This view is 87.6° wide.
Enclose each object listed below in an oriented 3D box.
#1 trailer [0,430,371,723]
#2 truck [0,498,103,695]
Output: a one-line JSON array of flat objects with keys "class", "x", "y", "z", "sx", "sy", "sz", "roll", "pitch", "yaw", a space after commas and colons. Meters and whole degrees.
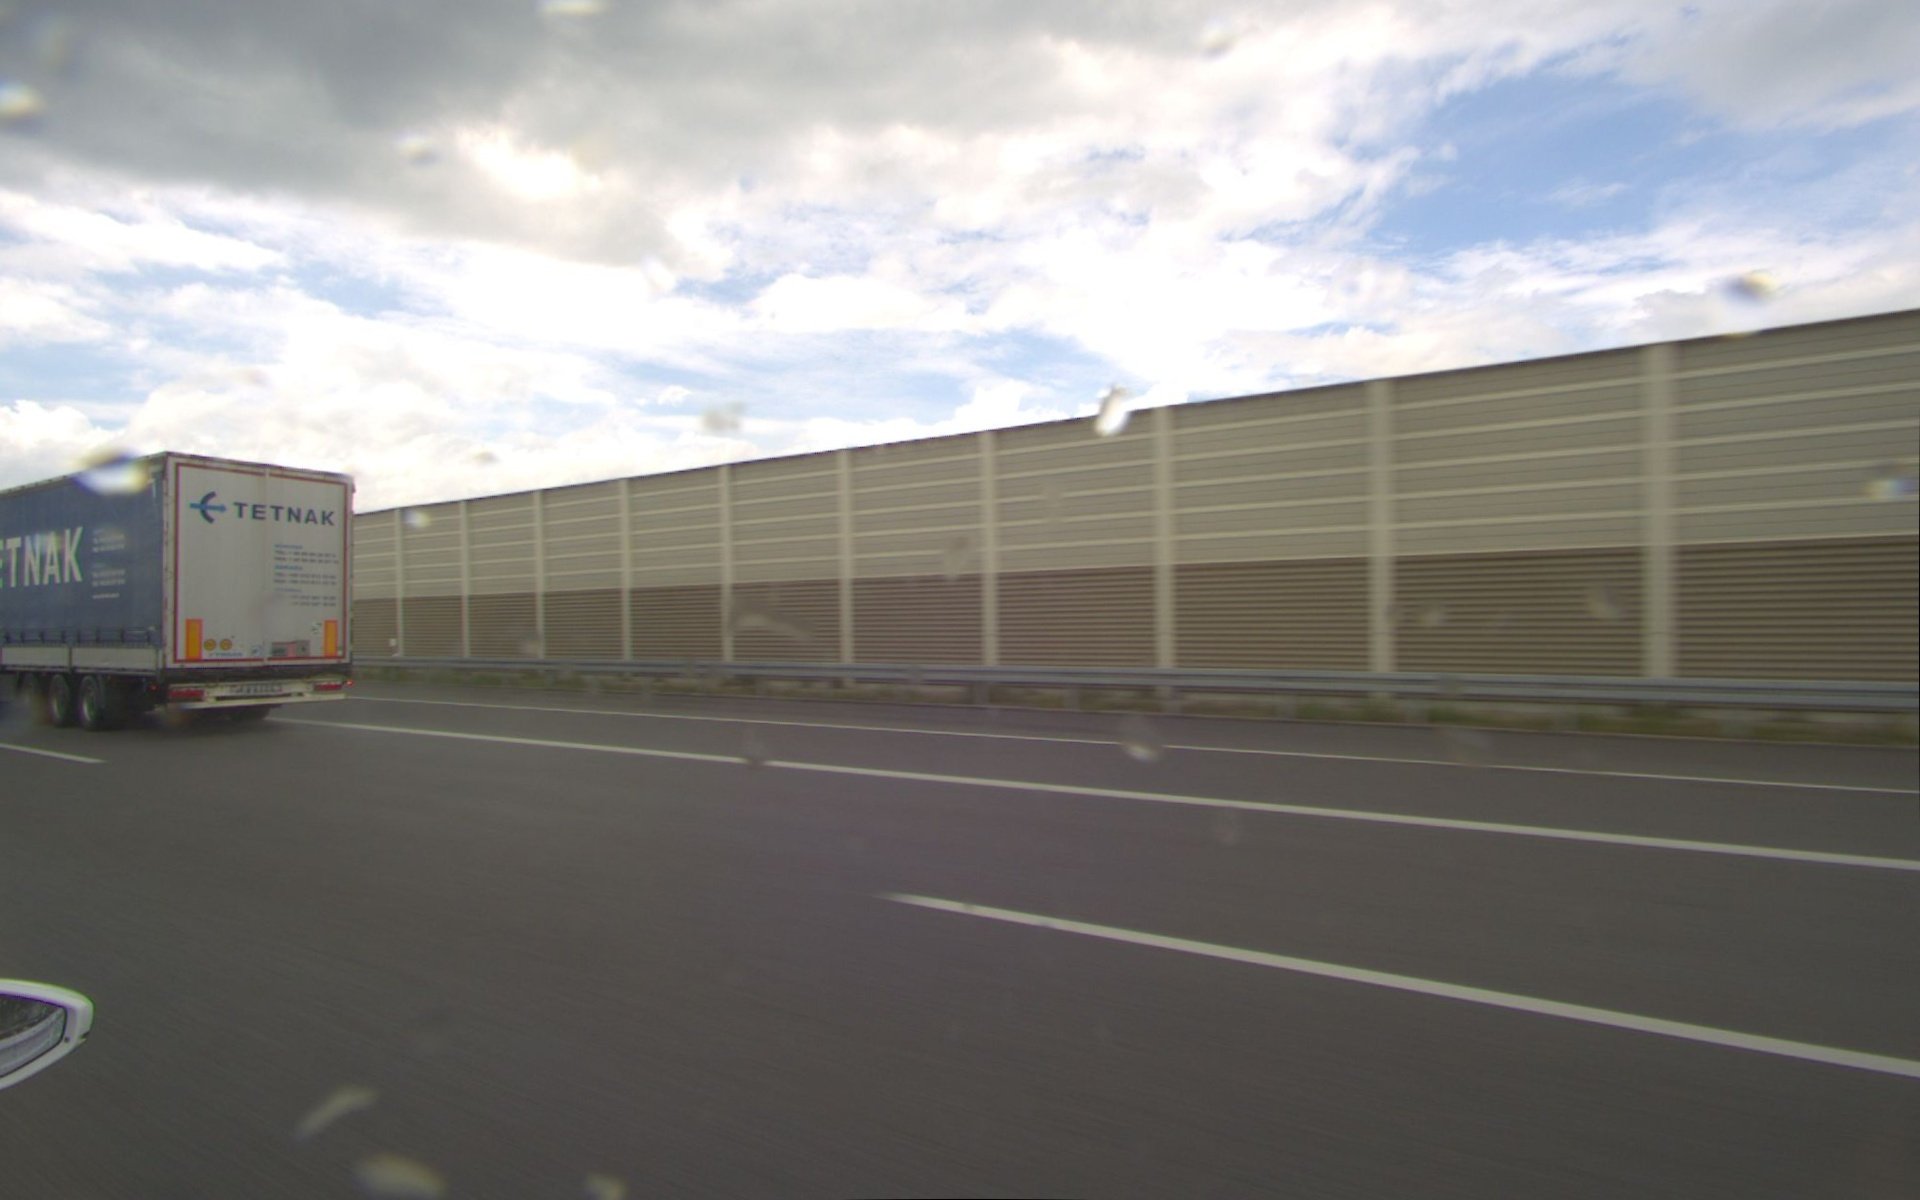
[{"class": "trailer", "x": -16.329, "y": -0.149, "z": 18.898, "sx": 14.246, "sy": 4.083, "sz": 2.756, "roll": -1, "pitch": -1, "yaw": 32}, {"class": "truck", "x": -22.102, "y": -0.013, "z": 22.517, "sx": 5.644, "sy": 4.086, "sz": 2.740, "roll": -1, "pitch": -1, "yaw": 32}]
